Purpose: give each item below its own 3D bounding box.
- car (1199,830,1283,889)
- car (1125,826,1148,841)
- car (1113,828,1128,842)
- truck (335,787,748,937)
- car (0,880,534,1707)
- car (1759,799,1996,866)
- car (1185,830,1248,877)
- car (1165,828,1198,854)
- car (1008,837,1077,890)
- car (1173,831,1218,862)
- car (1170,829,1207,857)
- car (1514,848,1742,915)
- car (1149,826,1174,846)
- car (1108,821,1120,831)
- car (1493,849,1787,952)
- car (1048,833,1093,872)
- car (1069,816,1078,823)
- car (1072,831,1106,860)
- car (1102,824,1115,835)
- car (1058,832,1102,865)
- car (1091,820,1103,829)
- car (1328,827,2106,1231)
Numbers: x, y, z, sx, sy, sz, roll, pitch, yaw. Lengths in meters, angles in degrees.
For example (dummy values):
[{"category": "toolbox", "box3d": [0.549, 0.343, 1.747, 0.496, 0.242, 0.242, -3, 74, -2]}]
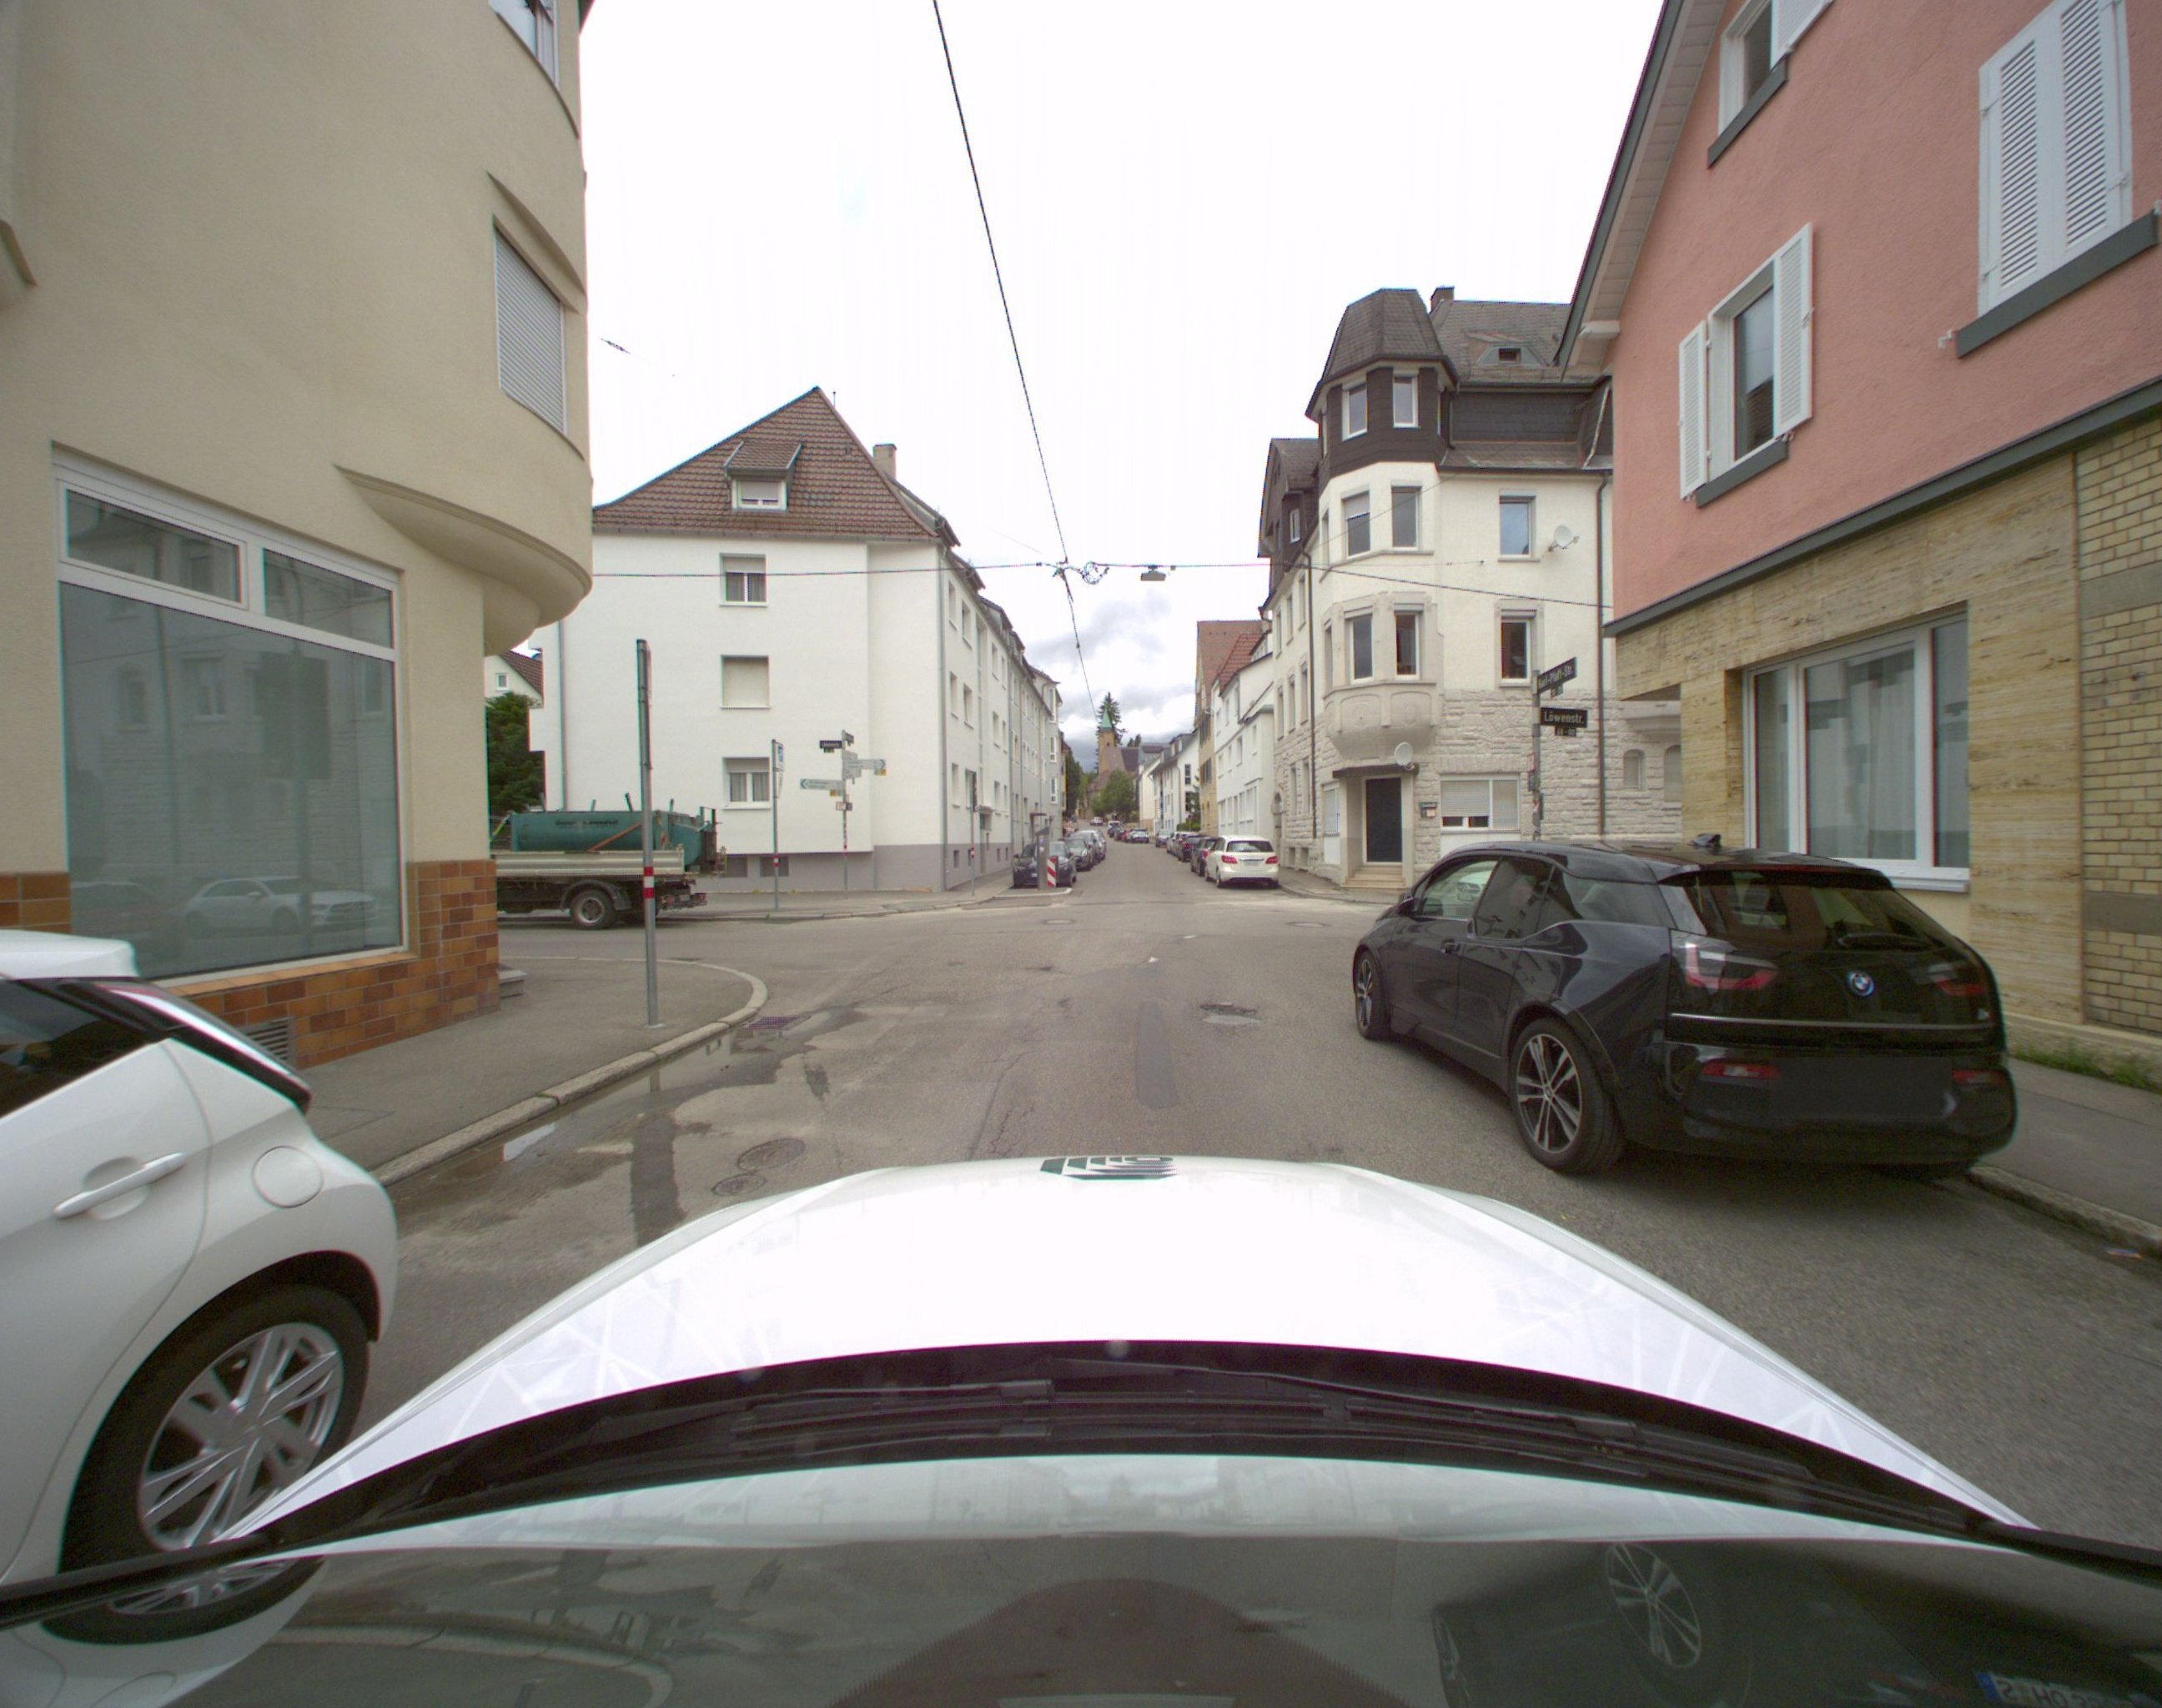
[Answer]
[{"category": "car", "box3d": [4.839, 0.102, 25.109, 1.814, 1.599, 4.028, 1, 2, 0]}, {"category": "car", "box3d": [5.632, -2.083, 83.023, 1.782, 1.479, 3.618, -1, 2, -7]}, {"category": "car", "box3d": [4.565, -2.214, 94.167, 1.662, 1.479, 3.627, -1, 2, 0]}, {"category": "truck", "box3d": [-10.111, 0.134, 15.799, 6.256, 2.552, 2.314, -1, -1, -5]}, {"category": "car", "box3d": [-2.678, 0.815, 0.683, 1.659, 1.434, 3.819, -2, -1, 3]}, {"category": "car", "box3d": [19.287, -0.506, 19.826, 4.220, 1.515, 1.848, 1, 1, -5]}, {"category": "car", "box3d": [4.949, -0.080, 30.194, 1.662, 1.532, 4.028, 1, 2, 0]}, {"category": "car", "box3d": [6.319, -0.845, 51.419, 1.662, 1.479, 3.627, 1, 2, 0]}, {"category": "car", "box3d": [-1.128, 0.228, 25.654, 1.813, 1.391, 4.300, -2, 2, 1]}, {"category": "car", "box3d": [5.629, -0.410, 40.478, 1.662, 1.384, 4.028, 1, 2, 0]}, {"category": "car", "box3d": [6.103, -0.672, 46.578, 1.662, 1.479, 3.627, 1, 2, 0]}, {"category": "car", "box3d": [12.462, 0.616, 18.680, 4.220, 1.414, 1.702, 1, 1, -5]}, {"category": "car", "box3d": [6.339, -1.416, 64.639, 1.662, 1.479, 3.627, 1, 2, 0]}, {"category": "car", "box3d": [4.966, -4.255, 122.801, 1.662, 1.479, 3.627, -1, 2, 0]}, {"category": "car", "box3d": [8.700, 0.687, 12.854, 3.608, 1.479, 1.670, 1, 1, -6]}, {"category": "car", "box3d": [-0.412, -0.116, 34.805, 1.724, 1.489, 3.721, -2, 2, 1]}, {"category": "car", "box3d": [-1.559, -7.434, 176.795, 1.665, 1.479, 3.621, -1, 2, -5]}, {"category": "car", "box3d": [0.465, -0.506, 44.939, 1.724, 1.448, 3.721, -2, 2, 1]}, {"category": "car", "box3d": [3.720, -3.386, 111.115, 1.662, 1.479, 3.627, -1, 2, 0]}, {"category": "car", "box3d": [-0.002, -0.295, 39.769, 1.722, 1.469, 3.726, -2, 2, 5]}, {"category": "car", "box3d": [3.172, -5.897, 161.821, 2.178, 1.693, 3.621, -1, 2, -5]}, {"category": "car", "box3d": [3.069, 0.661, 5.156, 1.811, 1.543, 4.027, 1, 0, 0]}]
